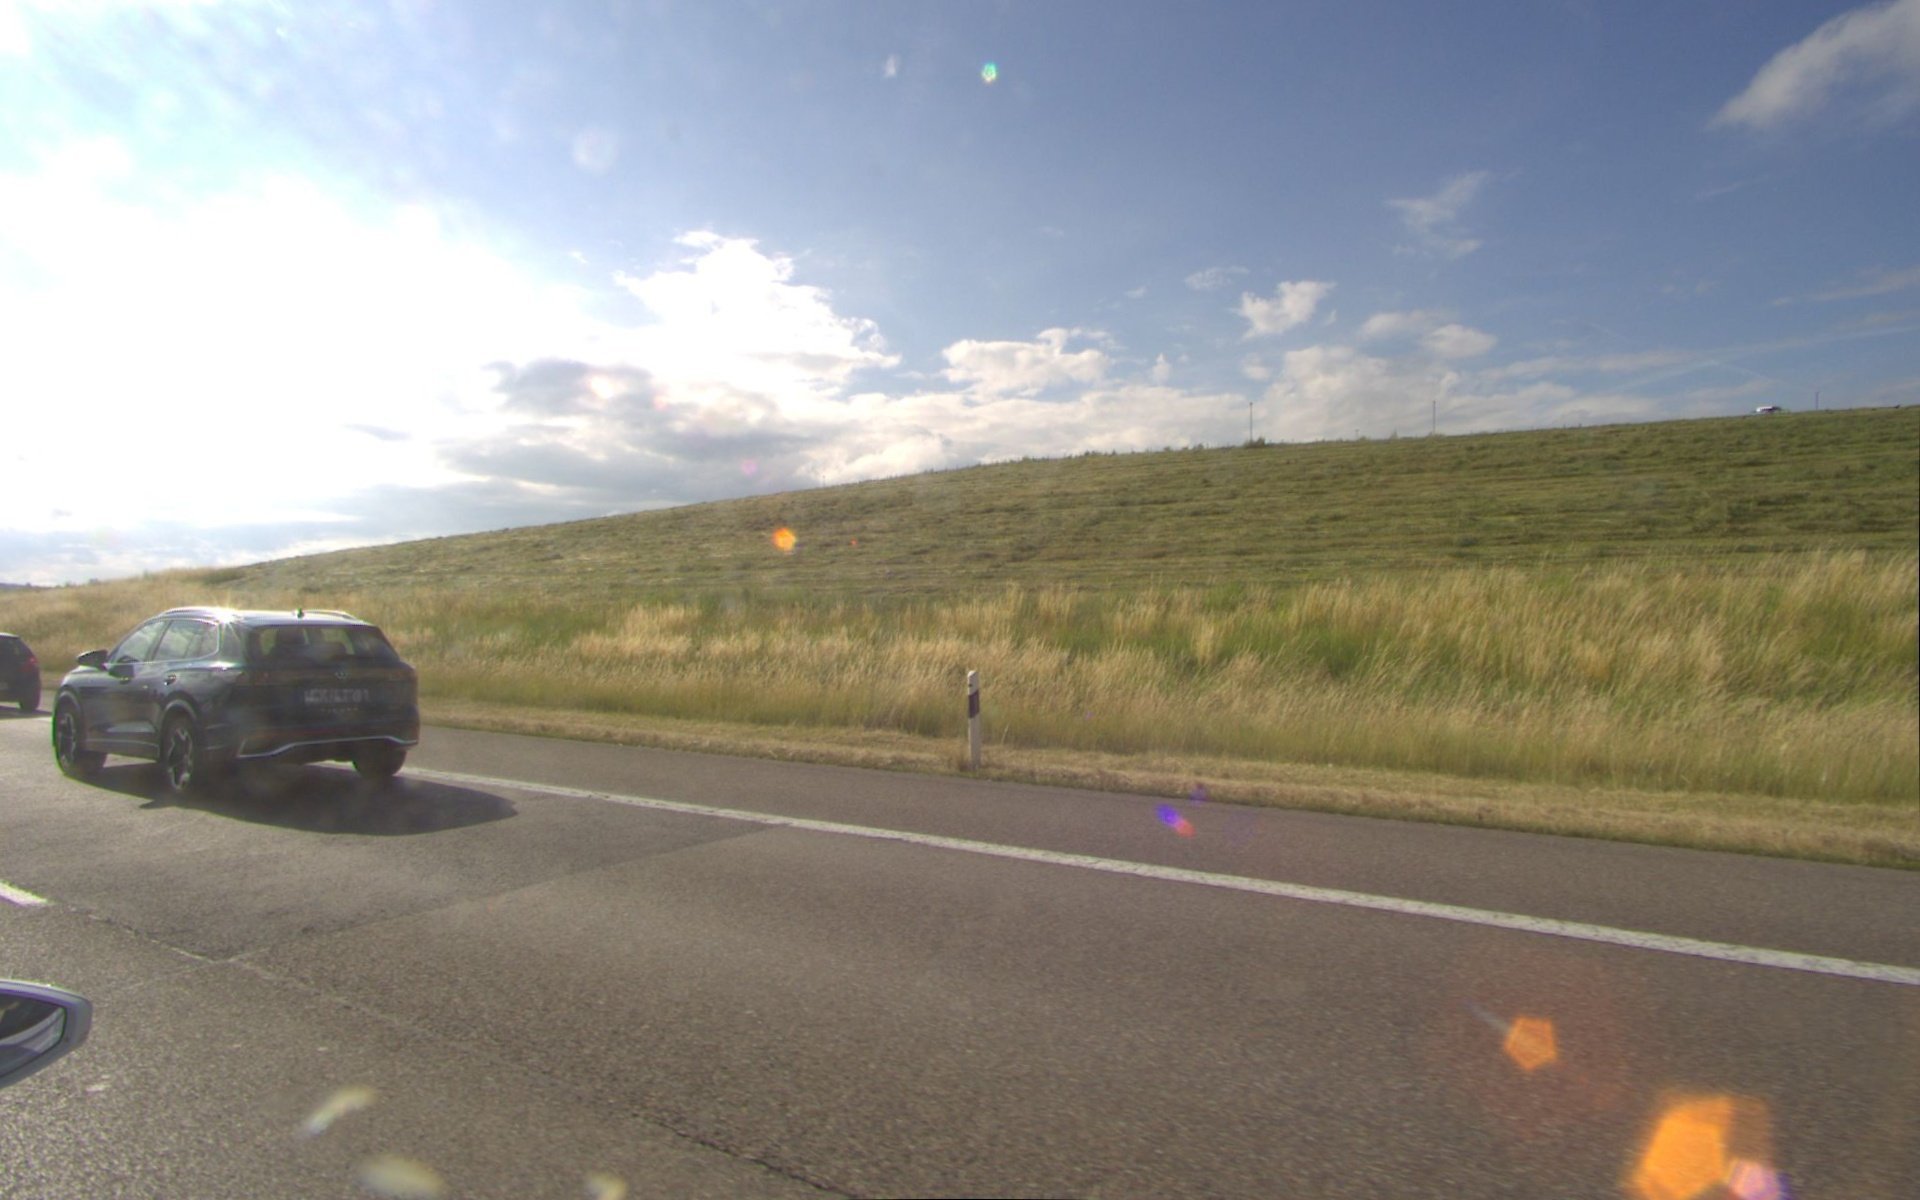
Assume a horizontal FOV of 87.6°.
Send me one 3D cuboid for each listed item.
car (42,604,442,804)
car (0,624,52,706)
[{"bbox_3d":[-7.266,0.924,10.042,4.175,1.621,1.818,-1,-3,32],"label":"car"},{"bbox_3d":[-18.453,1.175,18.515,3.621,1.438,1.602,-1,-1,33],"label":"car"}]
